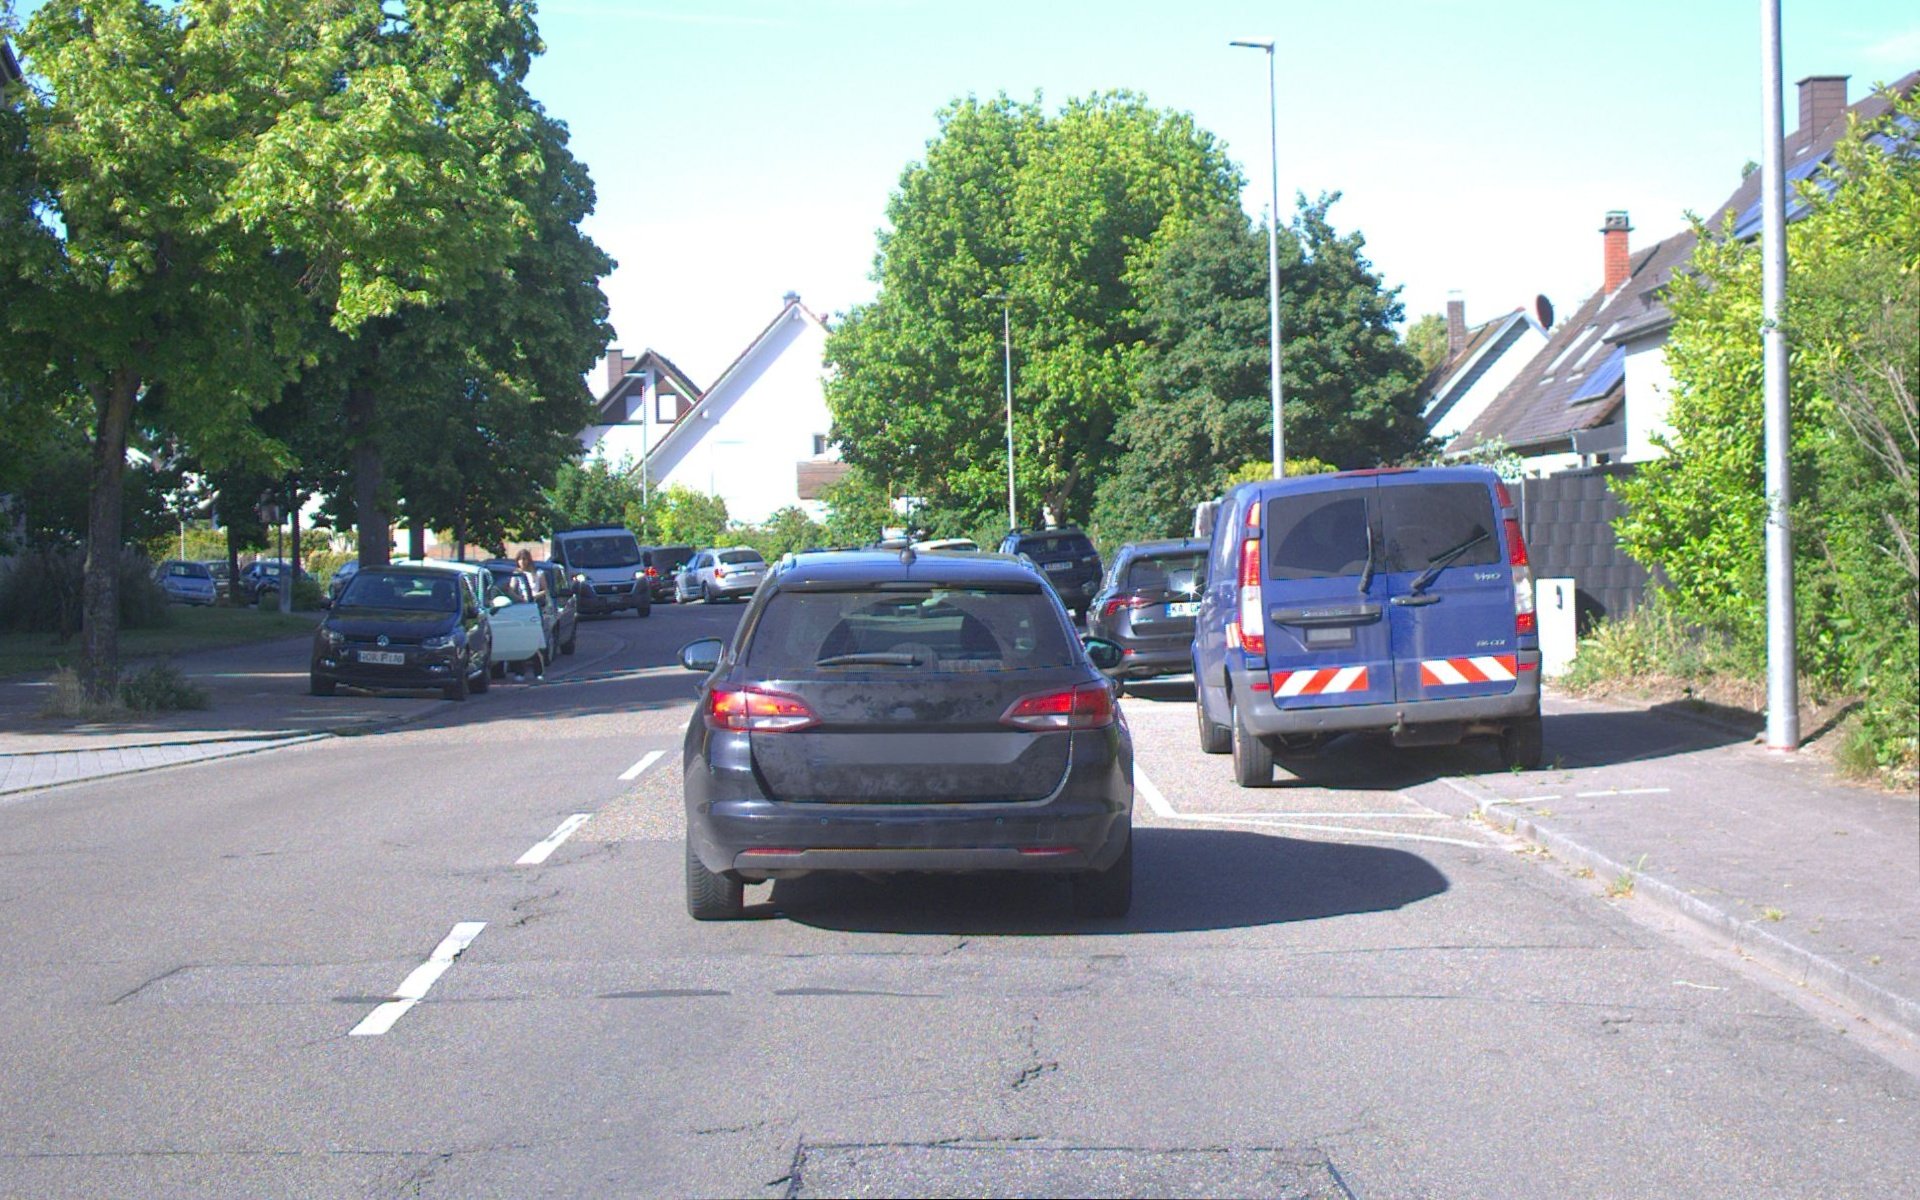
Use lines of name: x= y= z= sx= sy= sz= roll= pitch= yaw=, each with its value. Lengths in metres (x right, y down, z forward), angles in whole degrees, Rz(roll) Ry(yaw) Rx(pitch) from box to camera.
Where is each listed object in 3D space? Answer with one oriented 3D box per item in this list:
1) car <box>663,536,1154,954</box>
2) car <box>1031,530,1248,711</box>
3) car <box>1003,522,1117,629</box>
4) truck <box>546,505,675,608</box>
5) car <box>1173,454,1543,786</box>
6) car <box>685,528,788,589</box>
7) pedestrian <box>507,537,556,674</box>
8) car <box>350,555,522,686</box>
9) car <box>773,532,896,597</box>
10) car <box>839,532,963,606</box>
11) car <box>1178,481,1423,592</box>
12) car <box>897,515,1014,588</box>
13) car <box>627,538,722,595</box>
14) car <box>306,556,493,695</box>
car: x=-0.213 y=0.507 z=14.750 sx=1.761 sy=1.486 sz=4.291 roll=-1 pitch=1 yaw=-1
car: x=1.665 y=0.135 z=33.431 sx=1.765 sy=1.475 sz=4.992 roll=-4 pitch=2 yaw=0
car: x=1.716 y=-0.444 z=60.342 sx=1.778 sy=1.718 sz=4.294 roll=-3 pitch=1 yaw=0
truck: x=-8.599 y=-1.104 z=85.242 sx=2.130 sy=2.326 sz=6.442 roll=-3 pitch=1 yaw=3
car: x=2.500 y=0.066 z=22.678 sx=1.836 sy=1.901 sz=4.698 roll=-2 pitch=1 yaw=0
car: x=-6.210 y=-1.132 z=95.035 sx=1.820 sy=1.529 sz=4.260 roll=-3 pitch=1 yaw=-17
pedestrian: x=-5.626 y=0.078 z=45.164 sx=0.504 sy=1.755 sz=0.695 roll=-3 pitch=-1 yaw=-4
car: x=-6.752 y=0.268 z=44.619 sx=1.700 sy=1.518 sz=4.052 roll=-4 pitch=0 yaw=-3
car: x=-3.180 y=-0.873 z=86.130 sx=2.005 sy=1.470 sz=4.295 roll=-3 pitch=1 yaw=-16
car: x=-1.418 y=-0.712 z=80.610 sx=1.911 sy=1.595 sz=4.295 roll=-3 pitch=1 yaw=-14
car: x=6.911 y=-1.294 z=70.216 sx=4.680 sy=1.977 sz=2.143 roll=-3 pitch=1 yaw=0
car: x=-0.139 y=-1.047 z=76.077 sx=1.760 sy=1.475 sz=4.295 roll=-3 pitch=1 yaw=-11
car: x=-8.355 y=-0.953 z=100.198 sx=1.820 sy=1.529 sz=4.260 roll=-3 pitch=1 yaw=-17
car: x=-6.310 y=0.286 z=39.059 sx=1.700 sy=1.475 sz=4.053 roll=-1 pitch=0 yaw=-4
